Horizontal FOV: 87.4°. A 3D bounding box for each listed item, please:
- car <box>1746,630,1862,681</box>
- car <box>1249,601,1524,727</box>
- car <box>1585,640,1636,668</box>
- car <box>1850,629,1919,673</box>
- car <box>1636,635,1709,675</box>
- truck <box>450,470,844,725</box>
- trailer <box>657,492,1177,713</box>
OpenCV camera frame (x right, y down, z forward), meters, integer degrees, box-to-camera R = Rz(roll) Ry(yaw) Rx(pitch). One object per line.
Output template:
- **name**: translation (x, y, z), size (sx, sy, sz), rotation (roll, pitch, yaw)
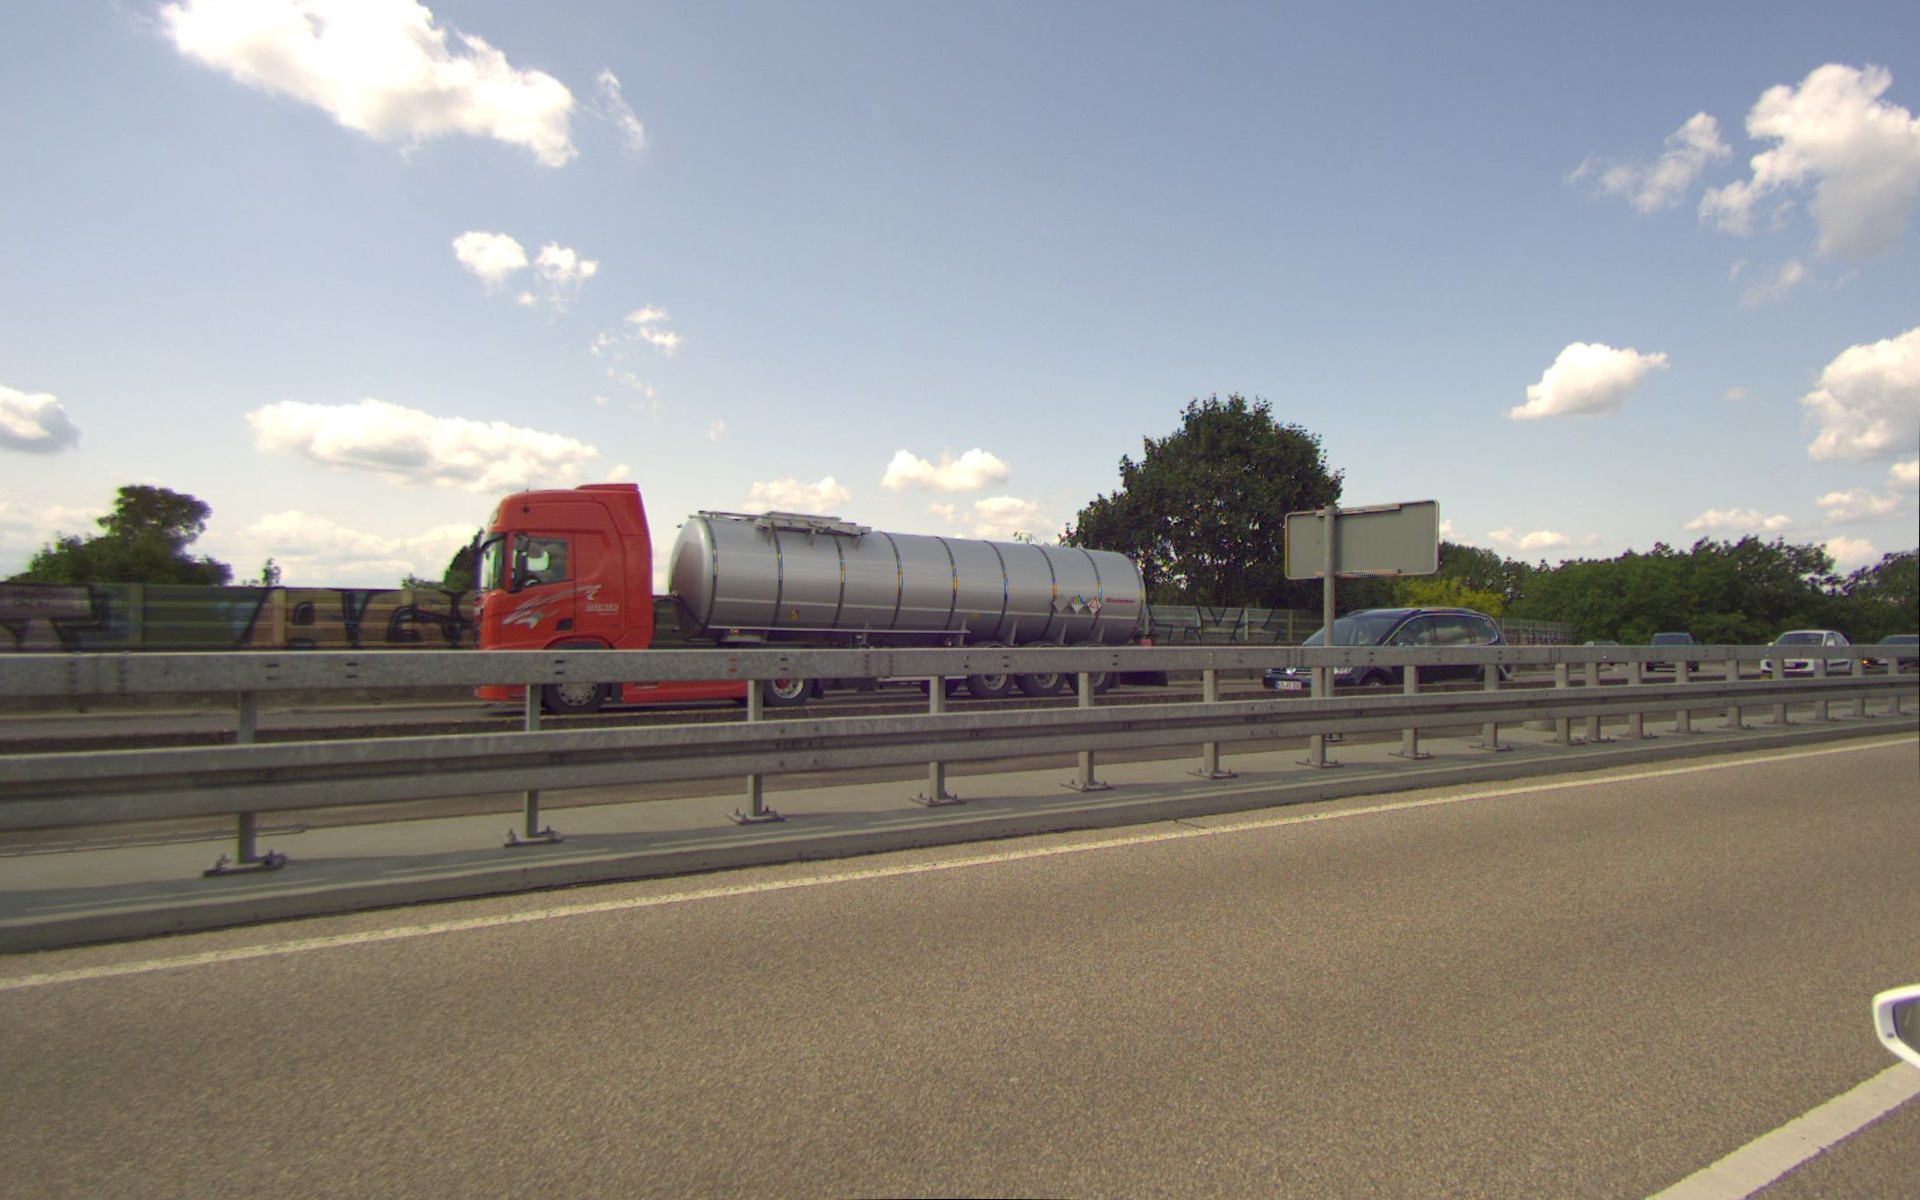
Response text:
- **car**: translation (28.954, 1.869, 34.455), size (3.843, 1.595, 1.914), rotation (2, 0, -31)
- **car**: translation (7.057, 0.975, 16.479), size (4.548, 1.773, 1.981), rotation (2, 0, -34)
- **car**: translation (38.940, 3.277, 60.183), size (1.894, 1.594, 4.281), rotation (-3, -4, 25)
- **car**: translation (36.485, 1.961, 38.852), size (4.197, 1.594, 1.914), rotation (2, -3, -31)
- **car**: translation (30.739, 2.324, 43.279), size (4.255, 1.595, 1.904), rotation (2, -1, -45)
- **truck**: translation (-5.454, 0.025, 17.840), size (6.164, 3.832, 2.633), rotation (2, 0, -32)
- **trailer**: translation (-0.448, 0.172, 20.944), size (10.906, 3.718, 2.670), rotation (2, 0, -32)
